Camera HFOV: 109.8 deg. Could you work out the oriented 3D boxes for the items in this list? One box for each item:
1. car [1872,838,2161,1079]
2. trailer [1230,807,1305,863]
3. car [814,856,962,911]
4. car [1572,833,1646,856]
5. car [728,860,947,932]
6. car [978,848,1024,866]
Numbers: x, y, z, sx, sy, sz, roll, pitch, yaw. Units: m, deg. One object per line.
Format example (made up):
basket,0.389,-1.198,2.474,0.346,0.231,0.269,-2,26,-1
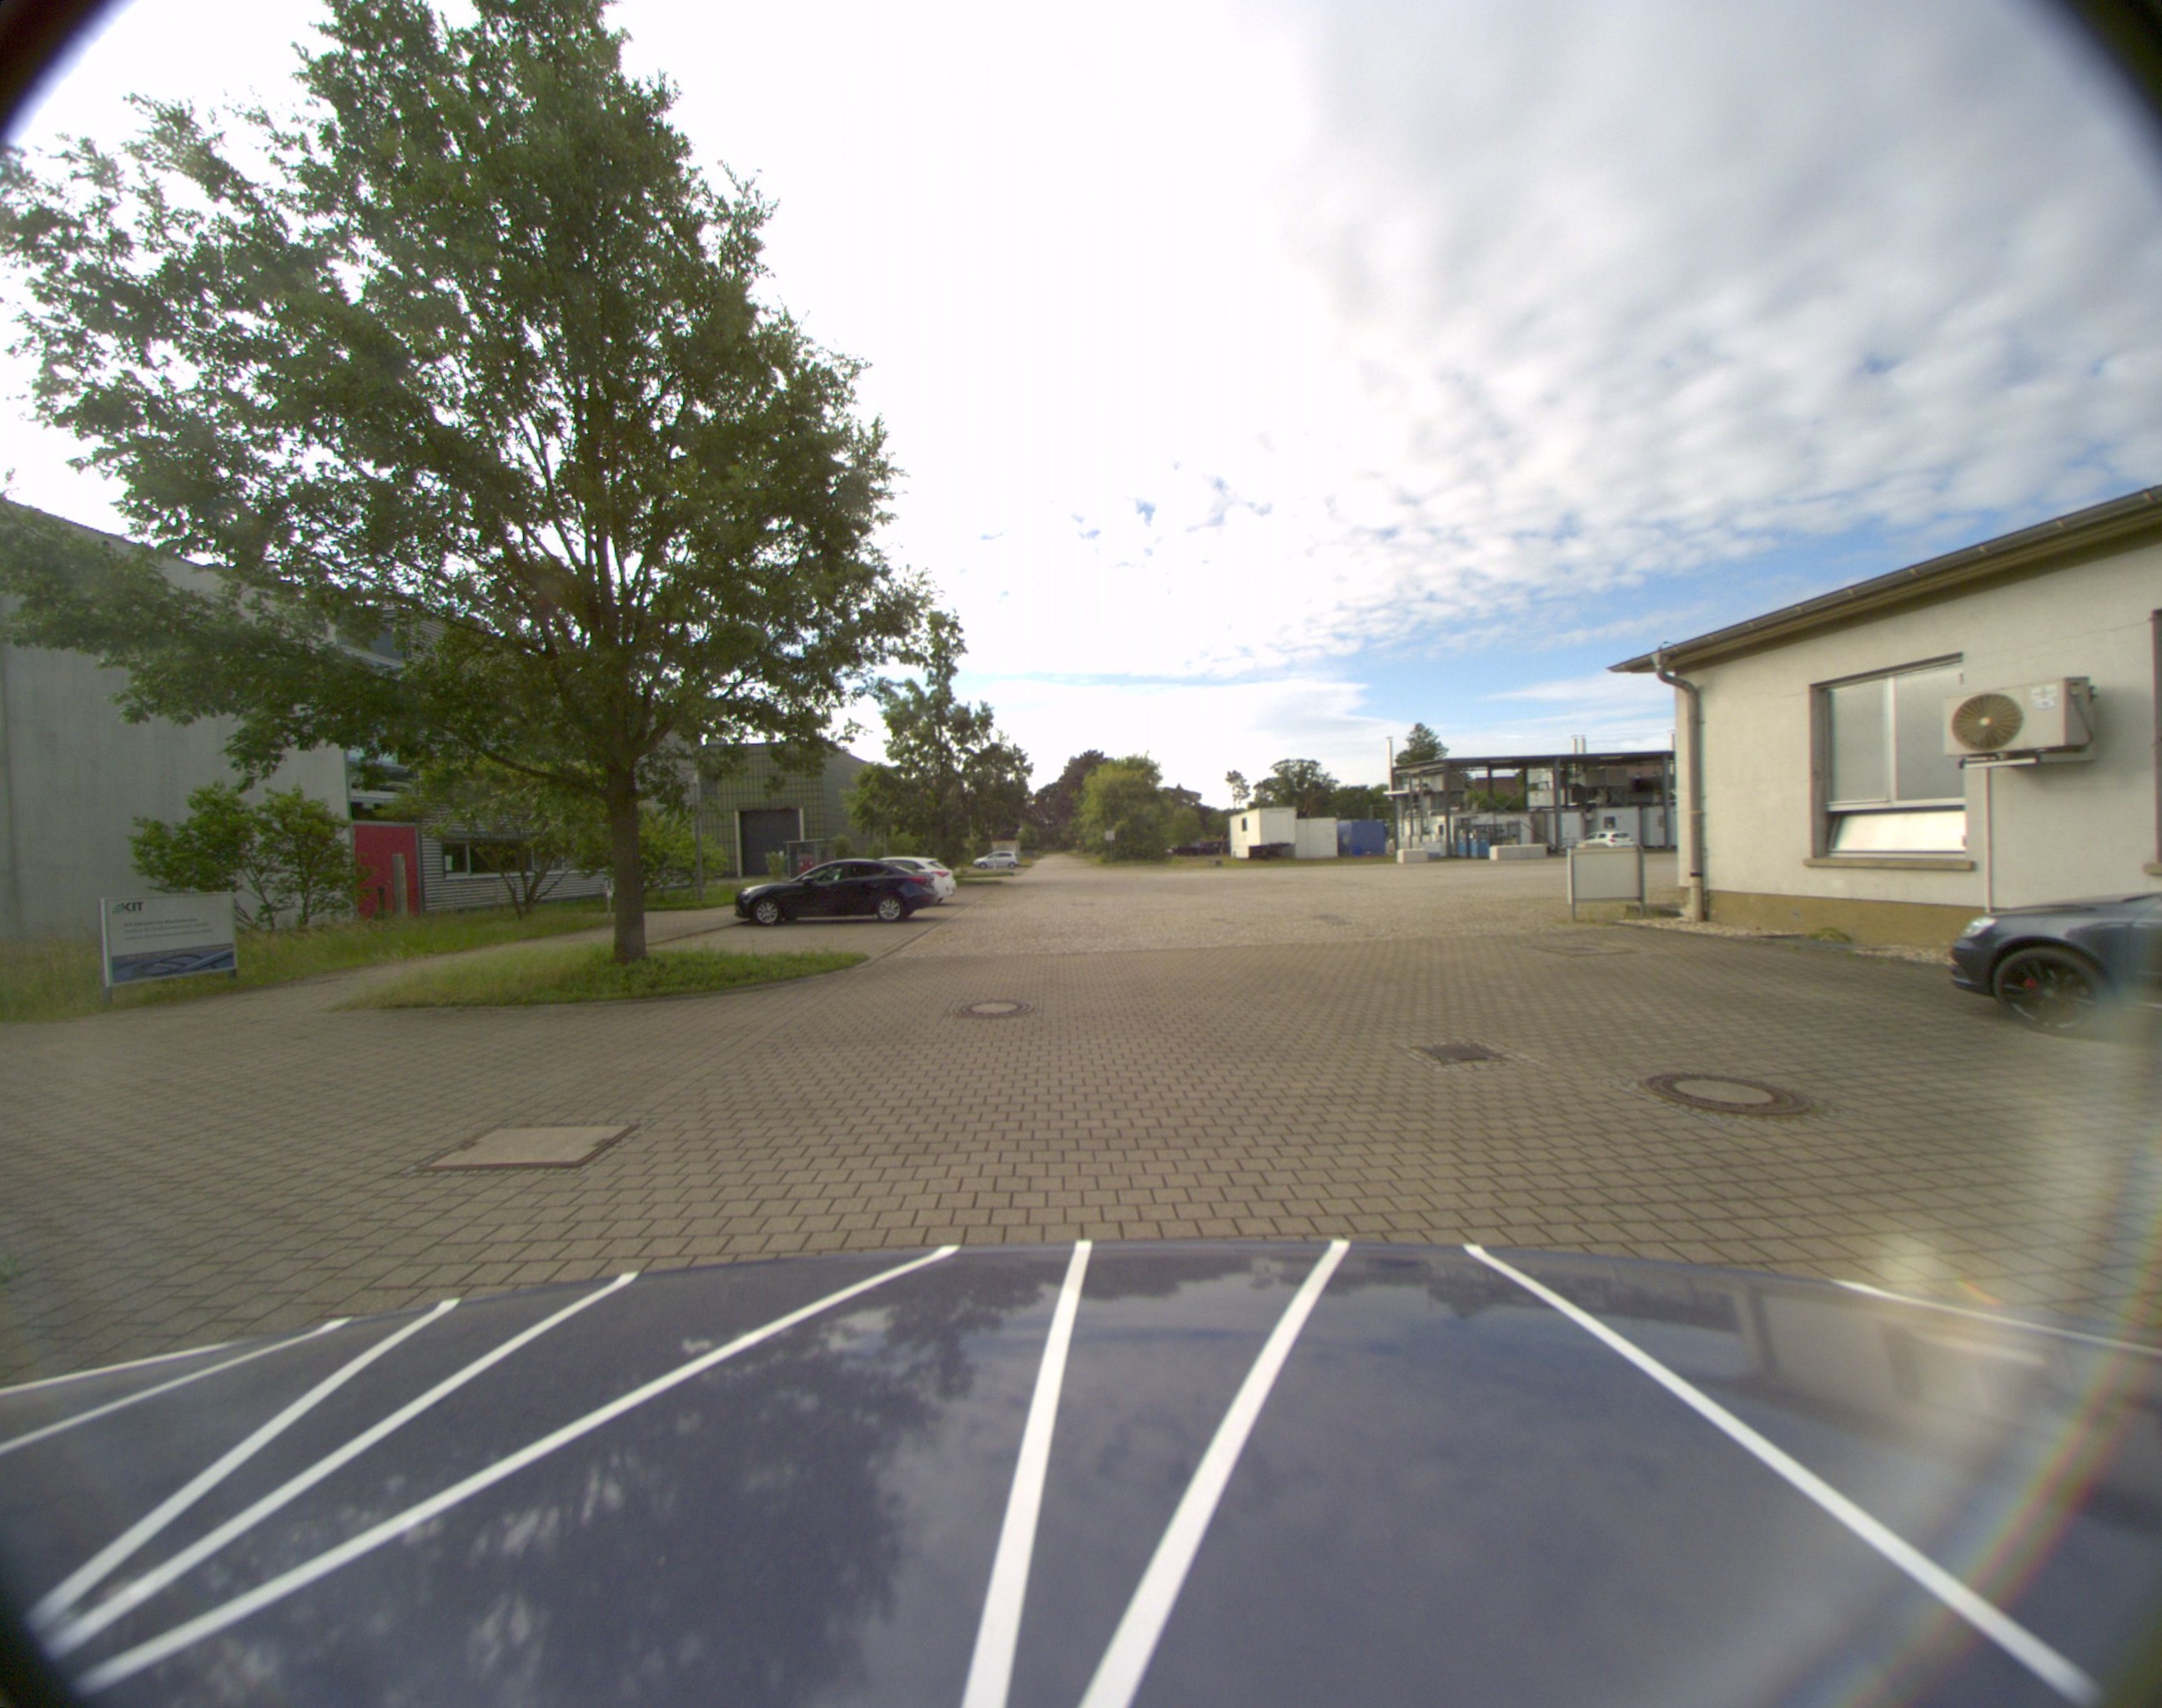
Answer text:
car,7.661,0.639,3.959,1.930,1.452,4.809,-2,0,-3
trailer,13.503,-1.280,56.027,2.876,3.641,10.776,-2,0,0
car,-5.739,0.864,22.993,3.986,1.458,1.882,-2,1,-2
car,34.988,-0.618,50.449,1.933,1.464,3.998,0,1,-4
car,-5.530,0.930,17.753,4.476,1.439,1.944,-1,1,-2
car,-7.253,0.270,69.117,4.133,1.615,1.938,0,1,-4
